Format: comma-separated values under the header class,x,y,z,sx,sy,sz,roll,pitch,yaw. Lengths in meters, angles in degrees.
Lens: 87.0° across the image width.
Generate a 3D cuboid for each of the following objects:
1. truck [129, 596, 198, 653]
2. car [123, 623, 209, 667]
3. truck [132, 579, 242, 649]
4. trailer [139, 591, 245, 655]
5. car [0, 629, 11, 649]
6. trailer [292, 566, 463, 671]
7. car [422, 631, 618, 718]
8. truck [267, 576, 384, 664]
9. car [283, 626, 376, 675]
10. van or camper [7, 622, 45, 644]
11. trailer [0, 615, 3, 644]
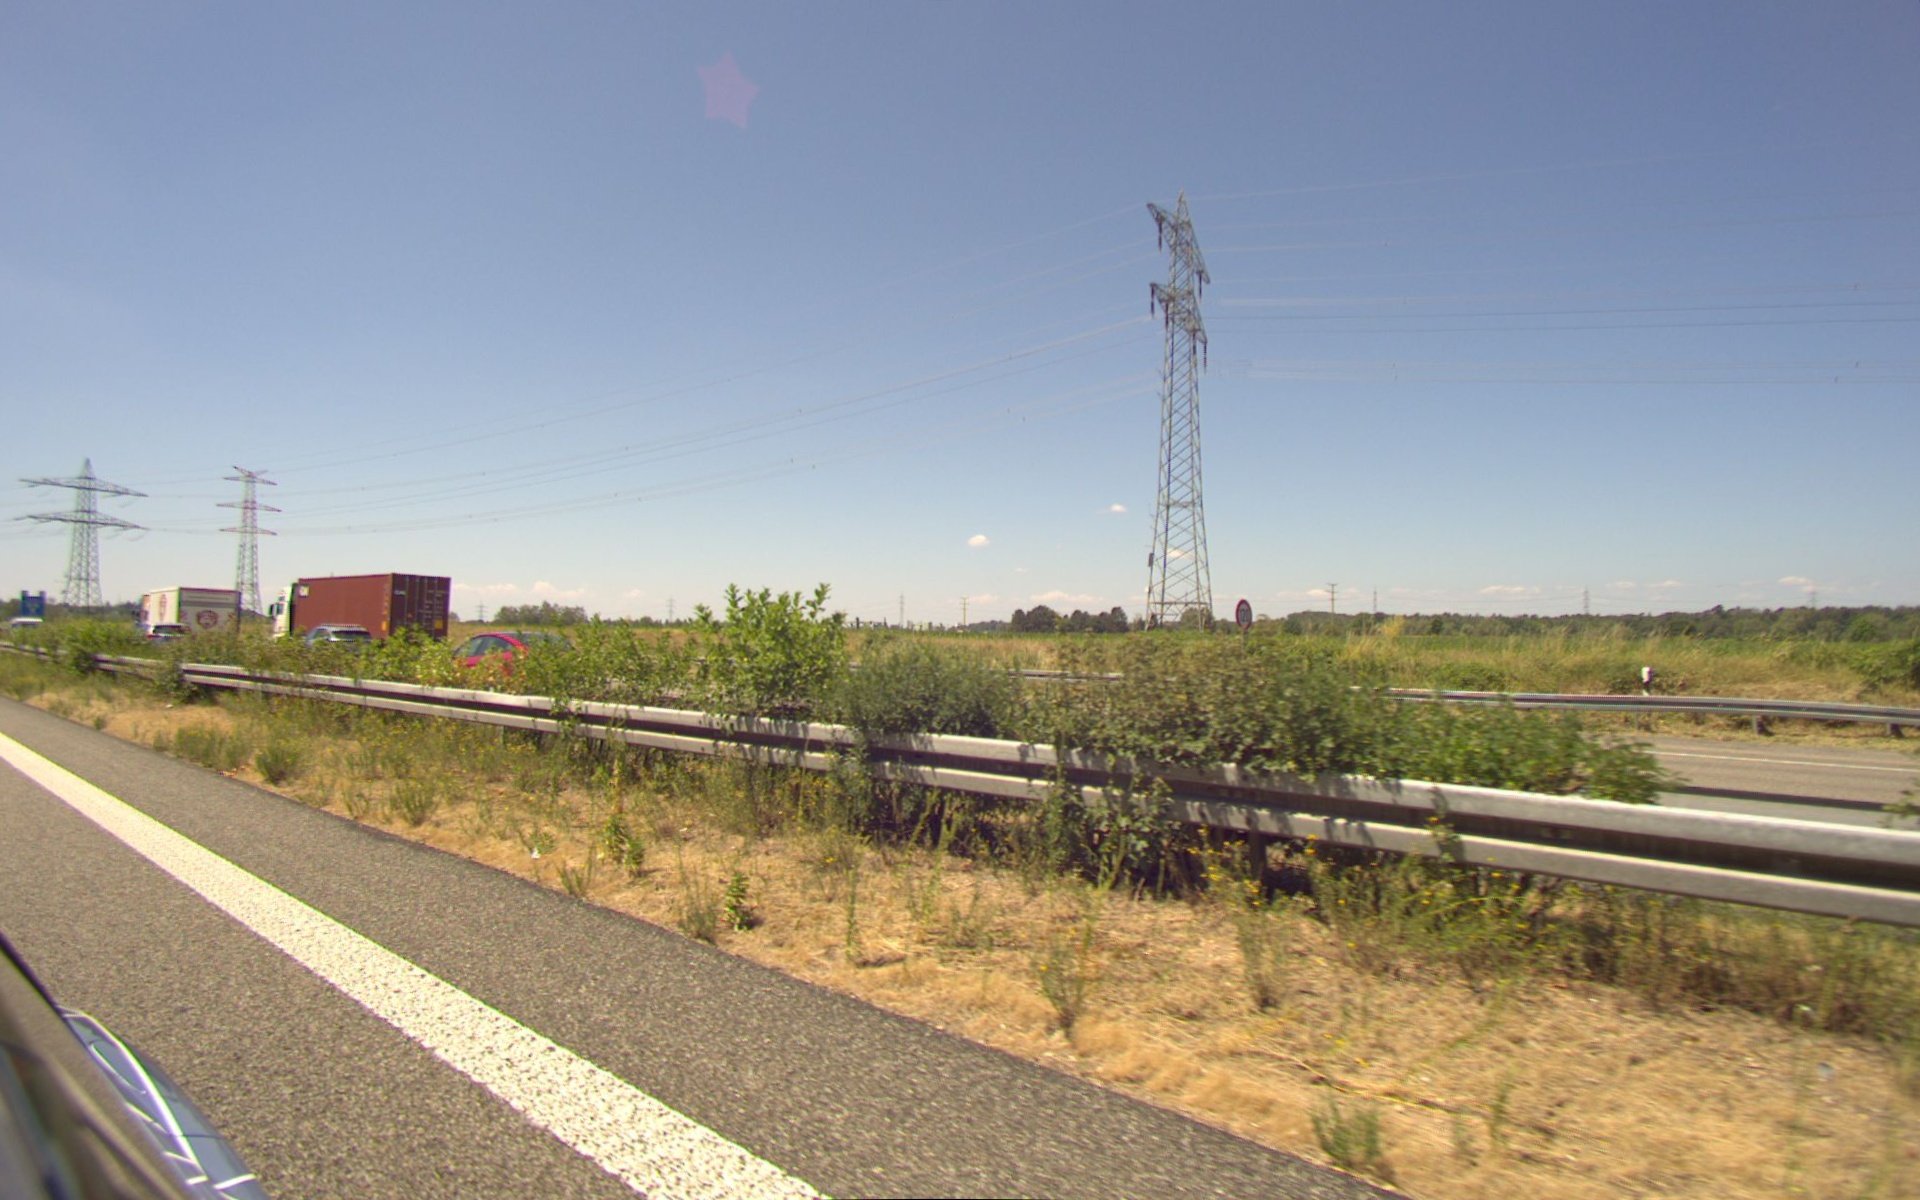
class,x,y,z,sx,sy,sz,roll,pitch,yaw
truck,-57.765,1.791,73.380,5.617,3.937,2.833,-2,-3,41
car,-32.055,1.779,40.826,4.583,1.680,1.816,-1,-2,40
truck,-41.313,0.828,53.952,9.364,3.439,2.905,-2,-3,42
trailer,-52.549,1.605,68.999,14.134,4.008,2.820,-1,-3,41
car,-73.429,2.944,76.835,3.998,1.507,1.648,-2,-3,42
trailer,-27.486,0.851,47.318,12.265,4.339,3.160,-1,-1,41
car,-8.515,1.345,19.446,4.198,1.497,1.734,-1,-3,40
truck,-32.355,1.053,51.526,6.434,4.190,3.180,-1,-3,40
car,-23.024,1.807,36.912,4.183,1.672,1.691,-1,-3,41
van or camper,-108.901,3.879,117.988,6.479,2.537,2.418,-1,-3,41
trailer,-140.360,4.254,145.679,9.418,4.077,2.708,-1,-3,41
